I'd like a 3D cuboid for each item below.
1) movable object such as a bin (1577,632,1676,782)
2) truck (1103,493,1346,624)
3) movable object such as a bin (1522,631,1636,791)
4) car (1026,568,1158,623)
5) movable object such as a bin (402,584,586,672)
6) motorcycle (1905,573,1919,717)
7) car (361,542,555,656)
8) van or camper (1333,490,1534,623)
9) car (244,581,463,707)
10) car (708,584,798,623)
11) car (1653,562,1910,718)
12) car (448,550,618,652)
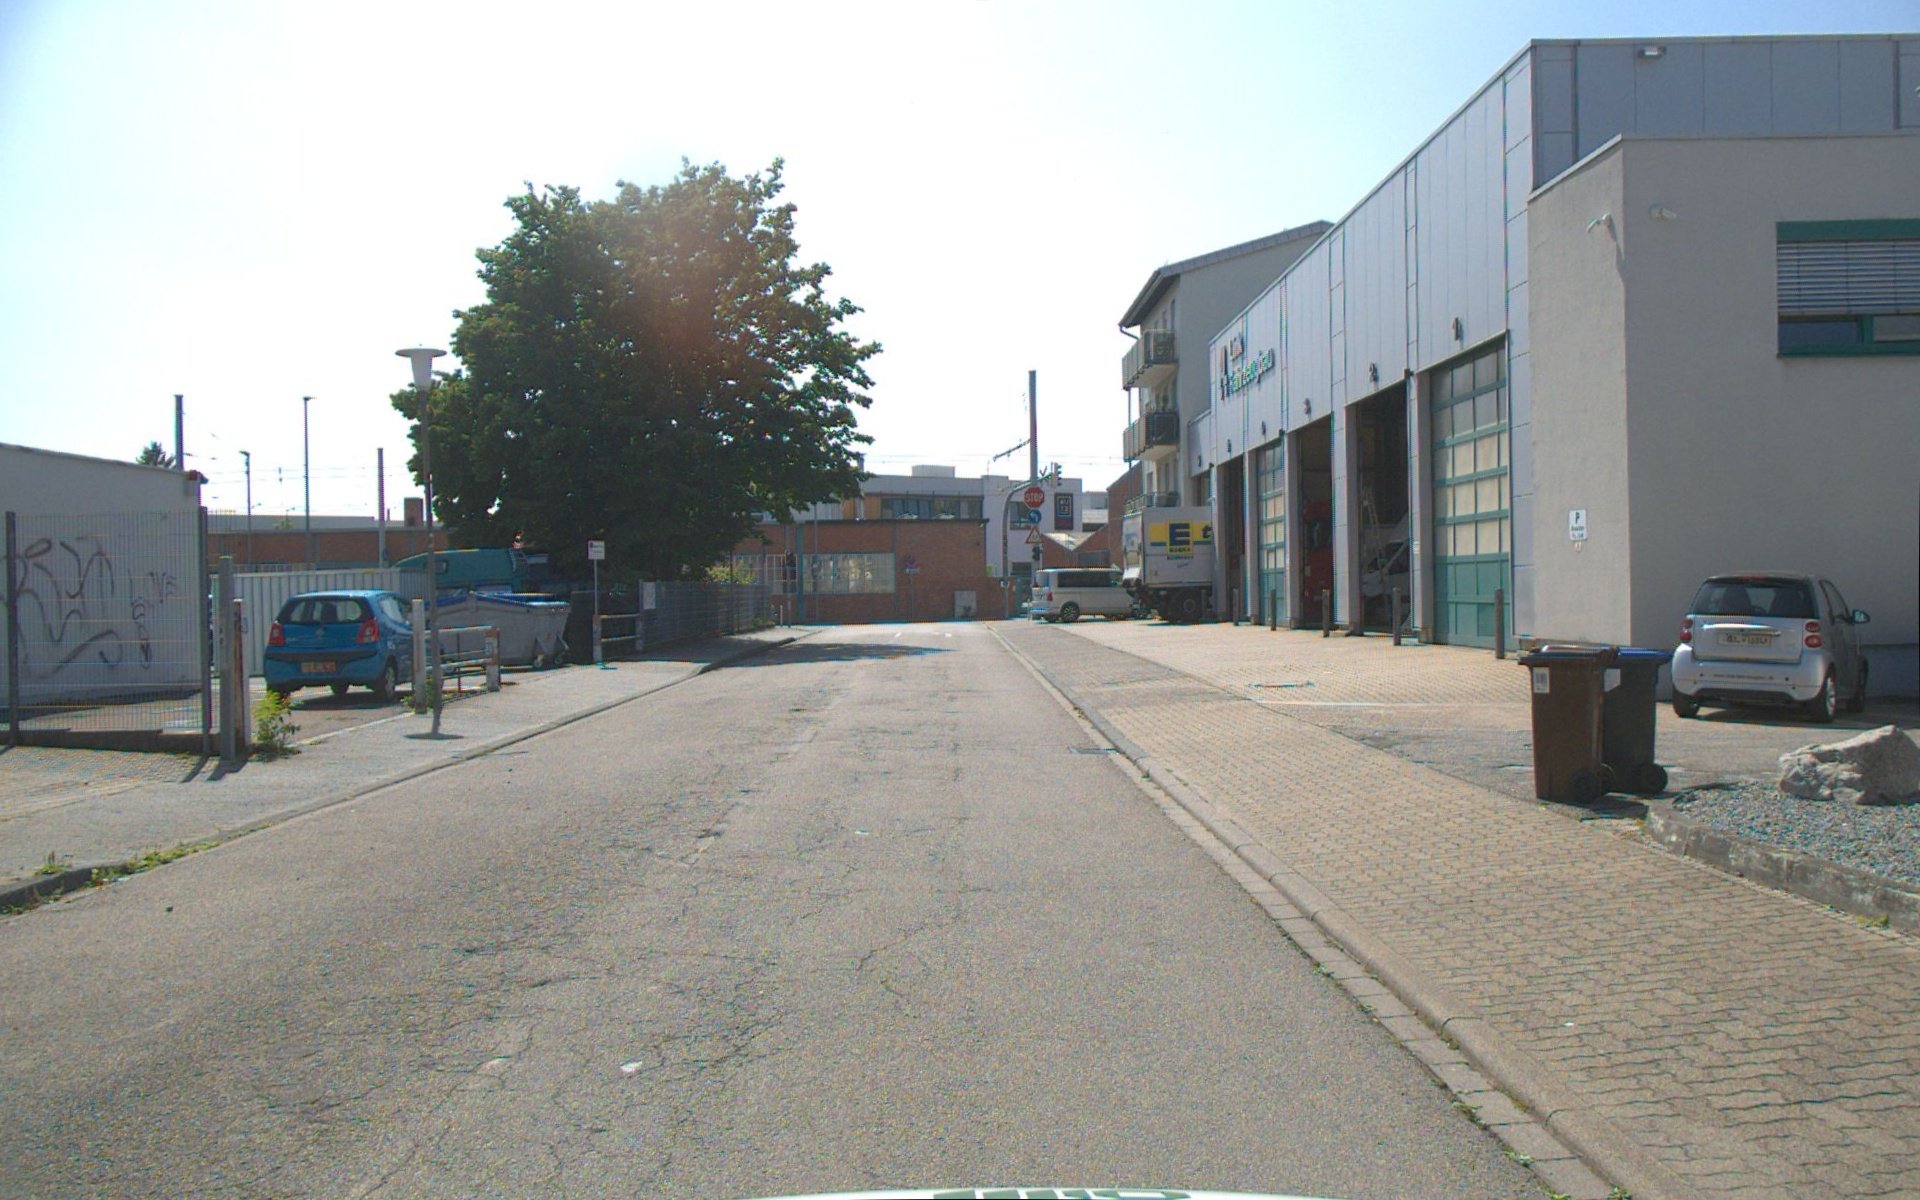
[{"bbox_3d":[4.451,0.709,11.069,0.502,0.962,0.488,-2,0,11],"label":"movable object such as a bin"},{"bbox_3d":[8.599,-1.360,54.232,7.220,3.708,2.764,-4,1,-7],"label":"truck"},{"bbox_3d":[3.954,0.692,10.556,0.557,0.962,0.556,-1,0,33],"label":"movable object such as a bin"},{"bbox_3d":[4.985,-0.174,62.582,4.585,1.992,1.905,-1,0,-20],"label":"car"},{"bbox_3d":[-8.880,0.503,31.770,2.571,1.536,2.730,-2,0,5],"label":"movable object such as a bin"},{"bbox_3d":[11.885,0.424,18.382,1.746,1.518,3.589,-1,0,41],"label":"motorcycle"},{"bbox_3d":[-11.748,-0.034,38.875,4.003,2.557,1.776,-1,0,-3],"label":"car"},{"bbox_3d":[12.417,-1.124,43.531,4.662,3.346,1.998,-1,0,-4],"label":"van or camper"},{"bbox_3d":[-8.383,0.561,23.196,1.778,1.557,3.674,-2,0,-2],"label":"car"},{"bbox_3d":[-9.868,0.182,78.760,3.870,1.714,1.894,-2,0,29],"label":"car"},{"bbox_3d":[9.392,0.390,18.783,1.746,1.566,3.682,-1,0,41],"label":"car"},{"bbox_3d":[-11.234,0.014,43.707,4.003,2.557,1.776,-1,0,-3],"label":"car"}]
